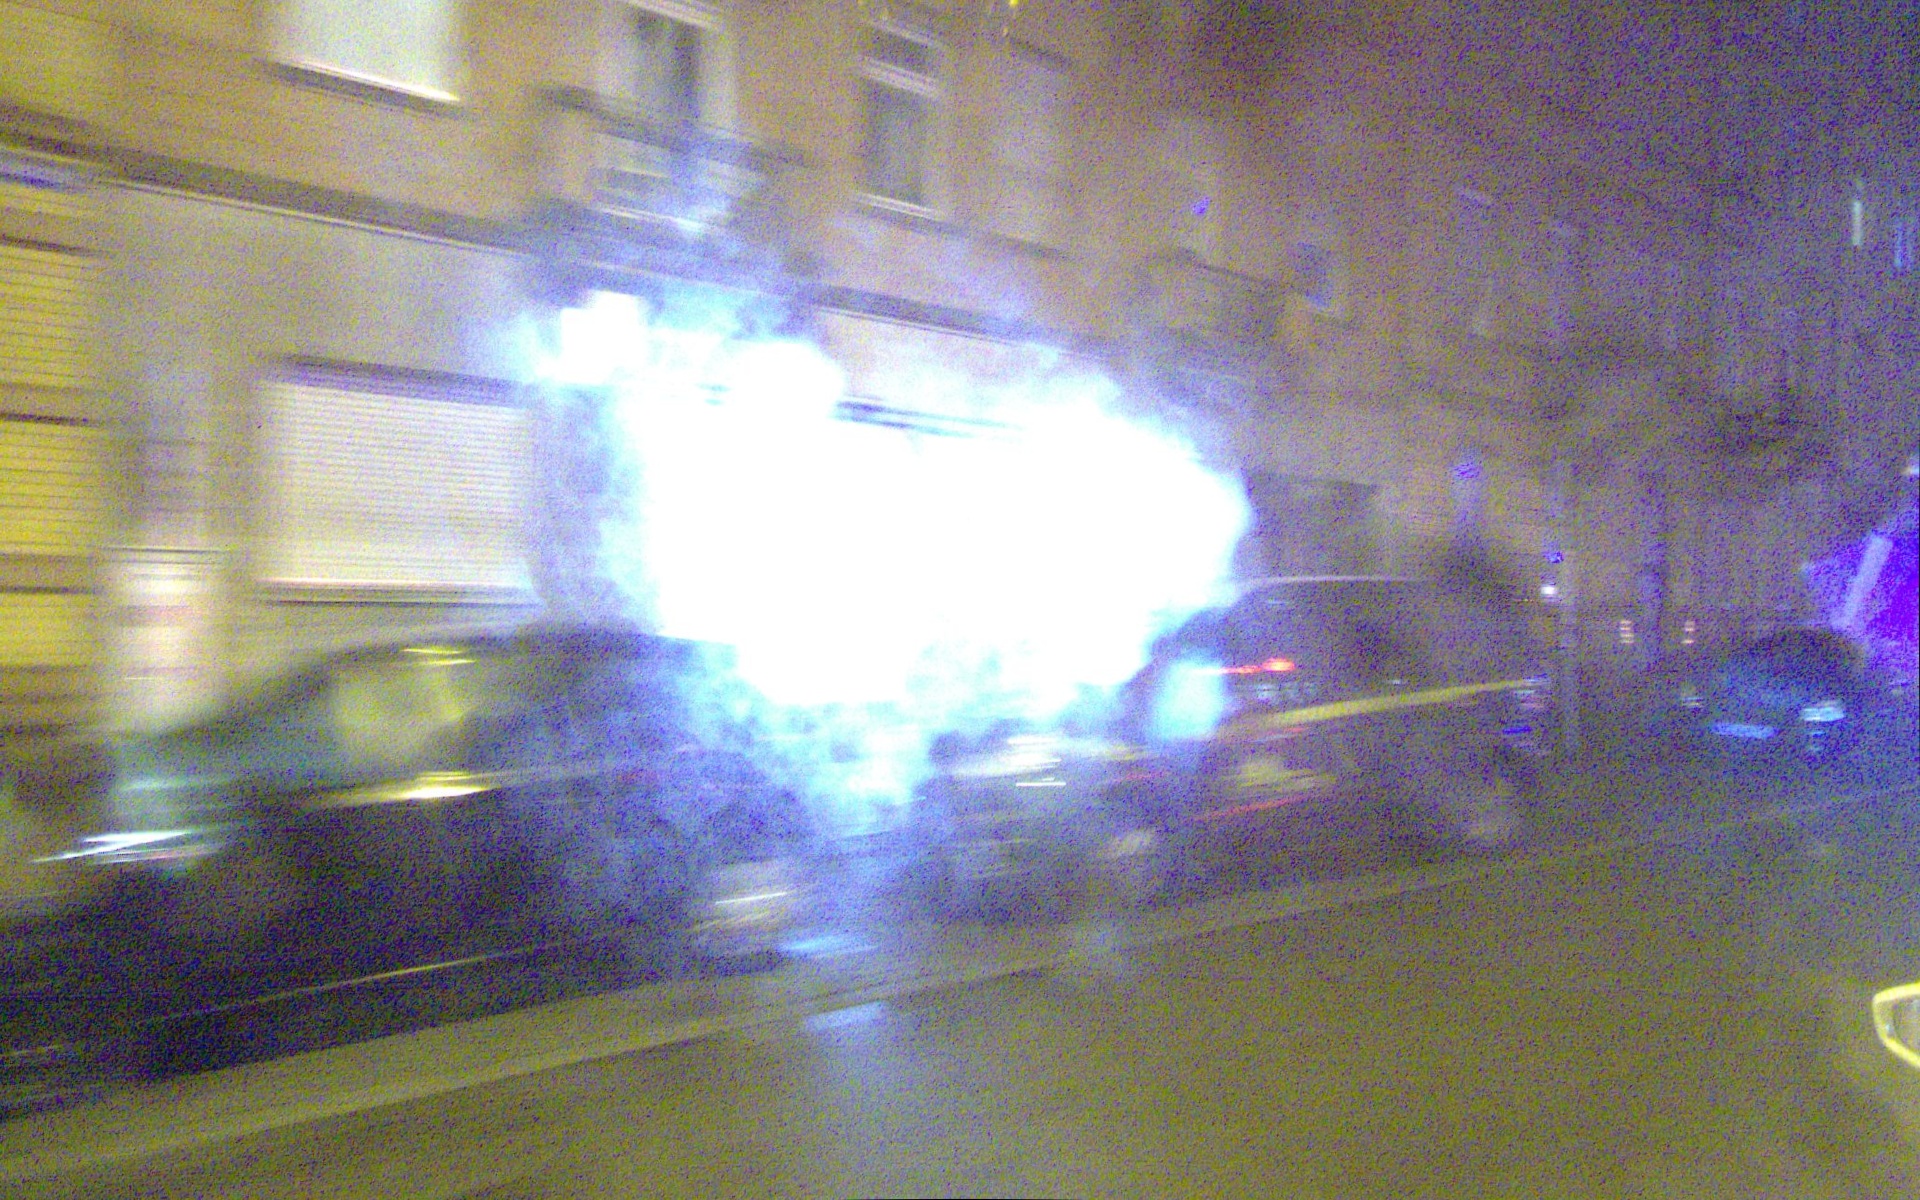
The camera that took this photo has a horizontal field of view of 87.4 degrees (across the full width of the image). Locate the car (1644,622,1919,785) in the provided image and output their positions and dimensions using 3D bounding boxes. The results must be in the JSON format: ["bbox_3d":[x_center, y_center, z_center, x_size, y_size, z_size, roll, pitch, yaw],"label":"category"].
[{"bbox_3d":[9.237,0.997,10.891,3.675,1.479,1.562,1,0,-30],"label":"car"}]

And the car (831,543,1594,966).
[{"bbox_3d":[1.752,0.711,6.424,4.771,1.854,1.894,1,0,-30],"label":"car"}]

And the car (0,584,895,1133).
[{"bbox_3d":[-2.298,0.768,4.194,3.675,1.596,1.719,1,0,-30],"label":"car"}]

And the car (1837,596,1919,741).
[{"bbox_3d":[14.594,0.909,14.022,5.144,1.854,1.987,1,0,-30],"label":"car"}]
